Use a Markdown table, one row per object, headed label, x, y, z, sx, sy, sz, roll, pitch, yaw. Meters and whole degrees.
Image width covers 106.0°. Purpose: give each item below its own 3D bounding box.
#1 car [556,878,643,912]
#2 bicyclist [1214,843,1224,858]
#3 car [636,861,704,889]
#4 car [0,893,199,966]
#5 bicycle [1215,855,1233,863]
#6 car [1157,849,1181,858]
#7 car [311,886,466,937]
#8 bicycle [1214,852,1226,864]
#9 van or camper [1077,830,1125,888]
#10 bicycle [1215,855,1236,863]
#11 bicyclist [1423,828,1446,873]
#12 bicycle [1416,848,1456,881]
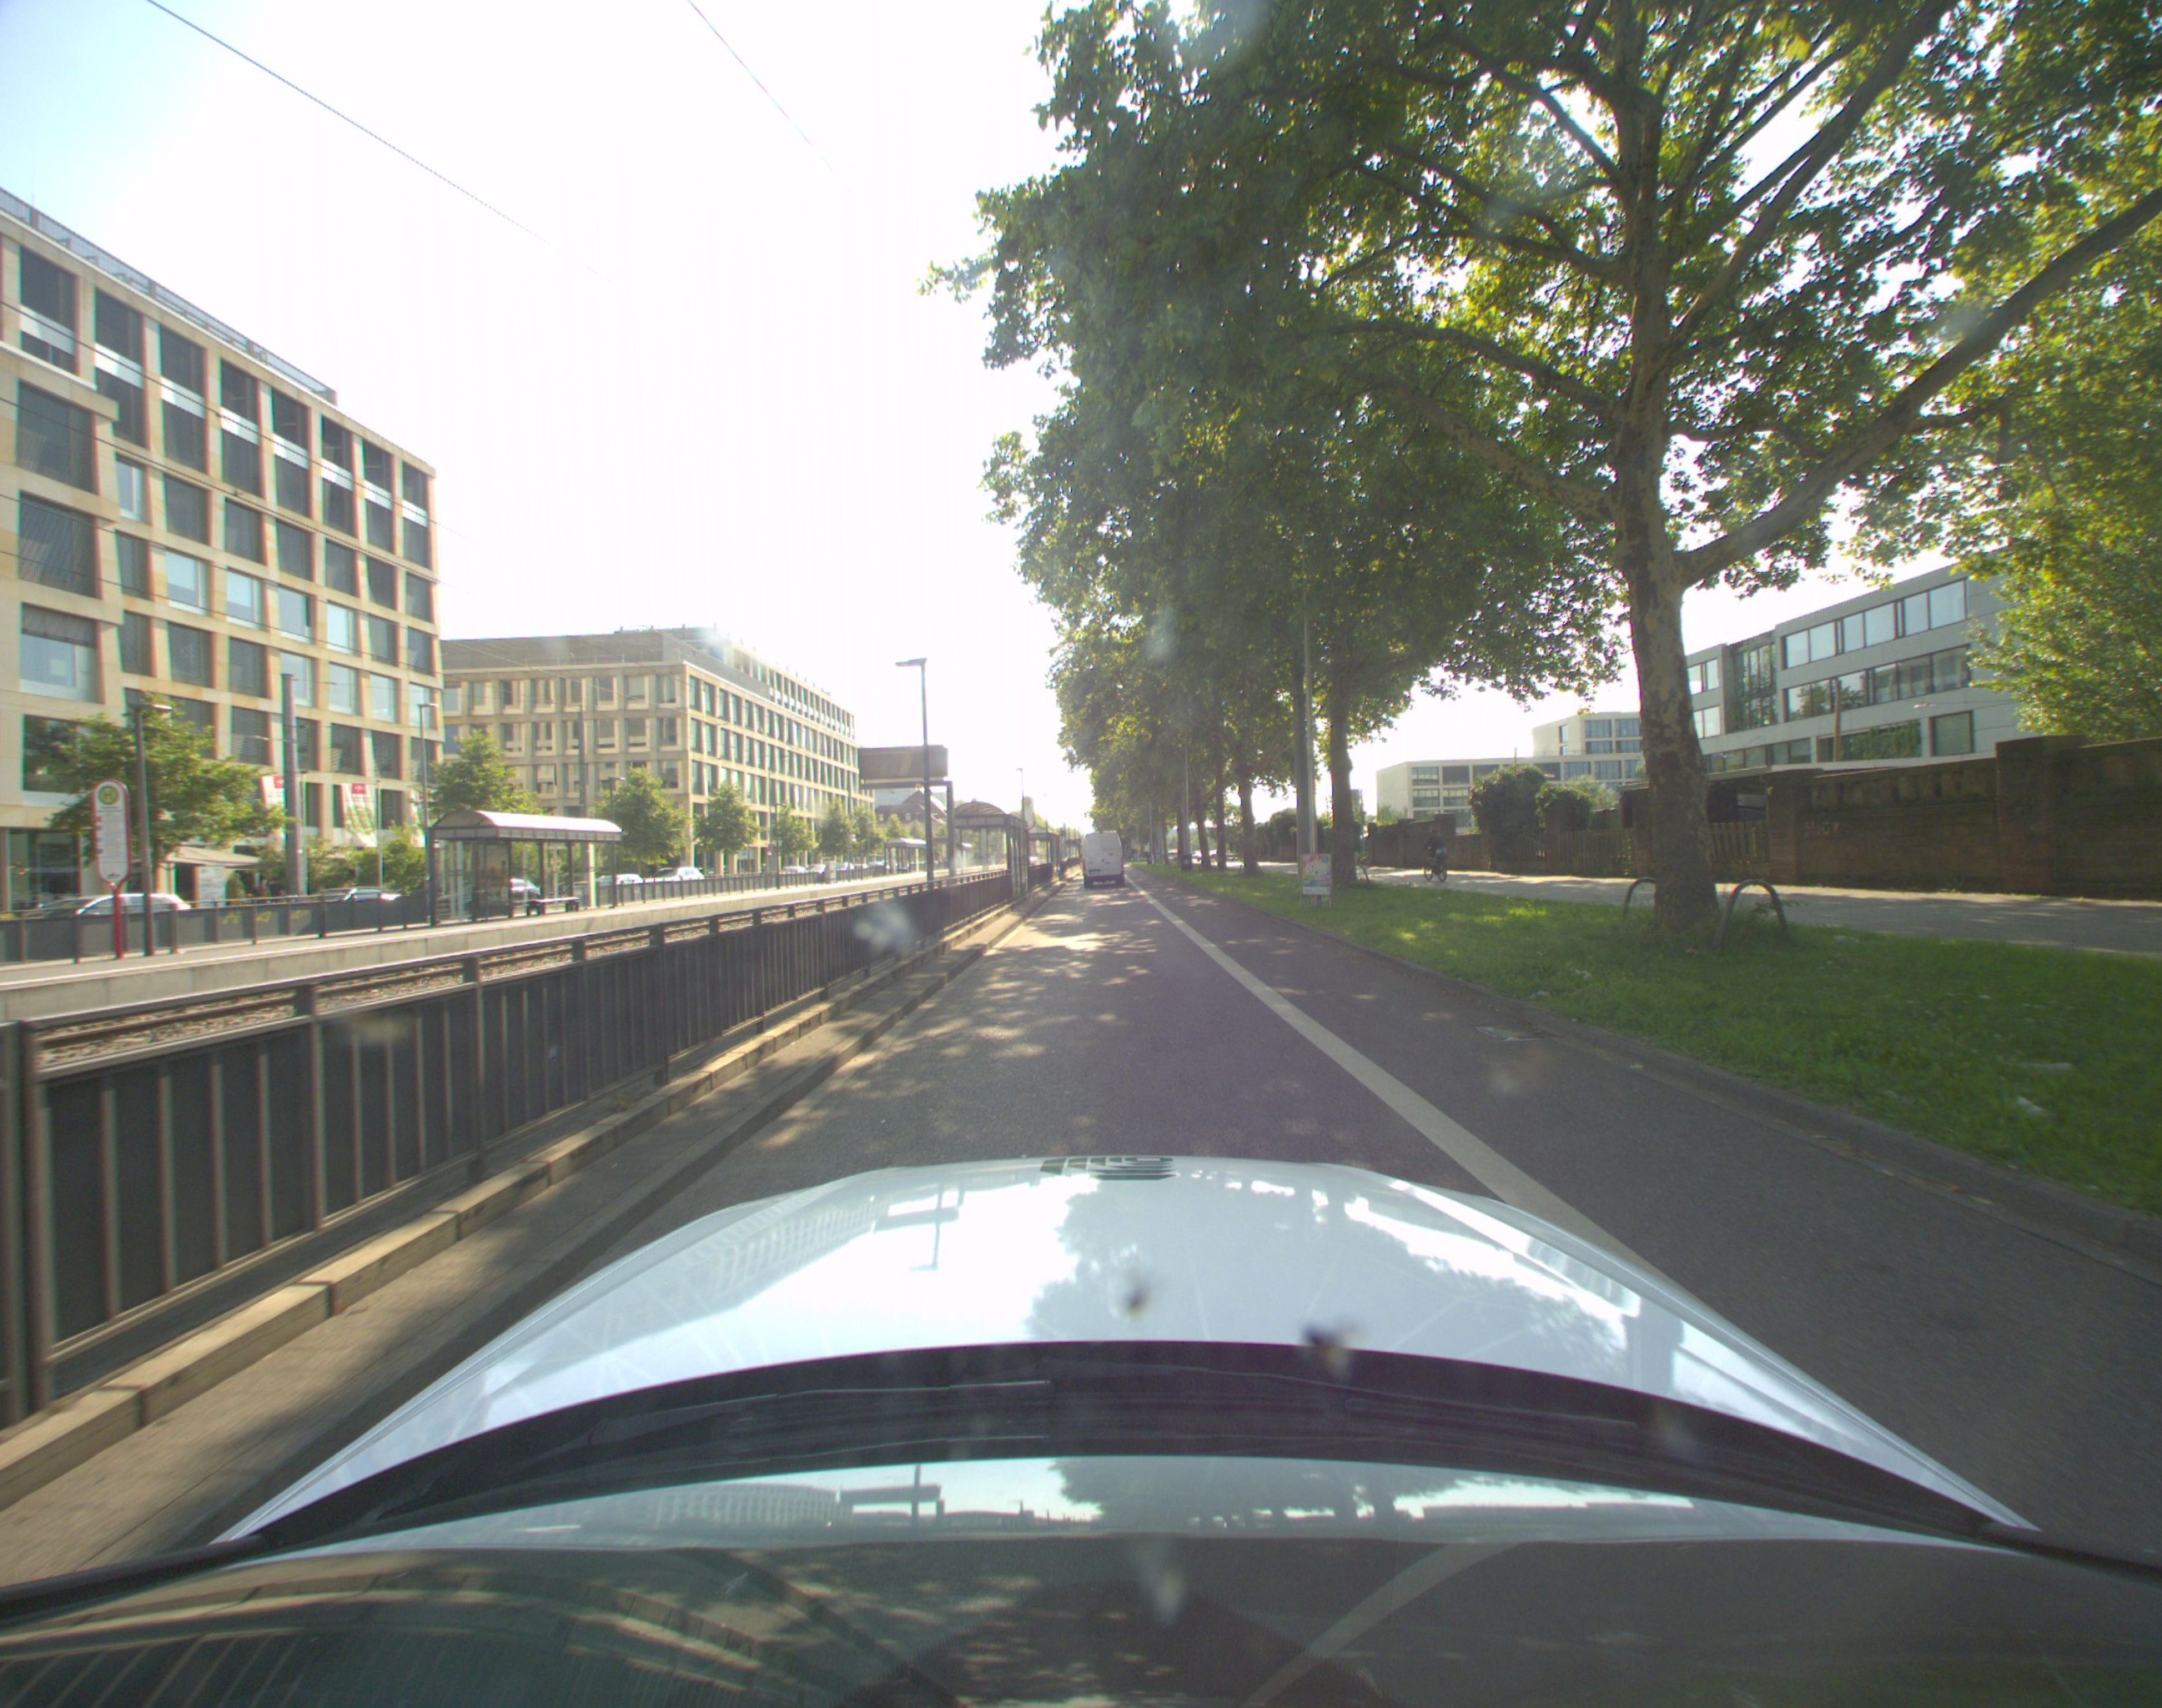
| label | x | y | z | sx | sy | sz | roll | pitch | yaw |
| --- | --- | --- | --- | --- | --- | --- | --- | --- | --- |
| car | -24.076 | 1.988 | 40.881 | 1.678 | 1.407 | 4.373 | -3 | 0 | 0 |
| bicyclist | 11.804 | -0.316 | 69.593 | 0.667 | 1.276 | 0.728 | -3 | 0 | 0 |
| car | -23.971 | 1.189 | 47.681 | 1.678 | 1.407 | 4.370 | -3 | 0 | 0 |
| car | -24.288 | 1.771 | 19.557 | 1.784 | 1.407 | 4.000 | -3 | 0 | 0 |
| bicycle | 16.001 | 0.562 | 91.358 | 1.925 | 0.847 | 0.372 | -3 | 0 | 1 |
| car | 15.289 | -0.085 | 141.628 | 3.973 | 1.376 | 2.000 | -1 | -1 | 1 |
| car | -24.361 | 1.981 | 28.907 | 1.678 | 1.407 | 4.373 | -3 | 0 | 0 |
| bicycle | 11.861 | 0.337 | 69.561 | 0.679 | 1.005 | 2.218 | -3 | 0 | 0 |
| van or camper | 0.914 | 0.242 | 40.332 | 2.110 | 2.682 | 5.246 | -1 | 0 | -2 |
| bicycle | 15.682 | 0.540 | 88.567 | 2.172 | 0.847 | 0.503 | -3 | 0 | 1 |
| bicyclist | 12.150 | -0.121 | 28.030 | 0.468 | 1.539 | 0.596 | -2 | 0 | -2 |
| bicycle | 12.174 | 0.341 | 27.999 | 0.490 | 1.089 | 1.856 | -2 | 0 | -2 |
